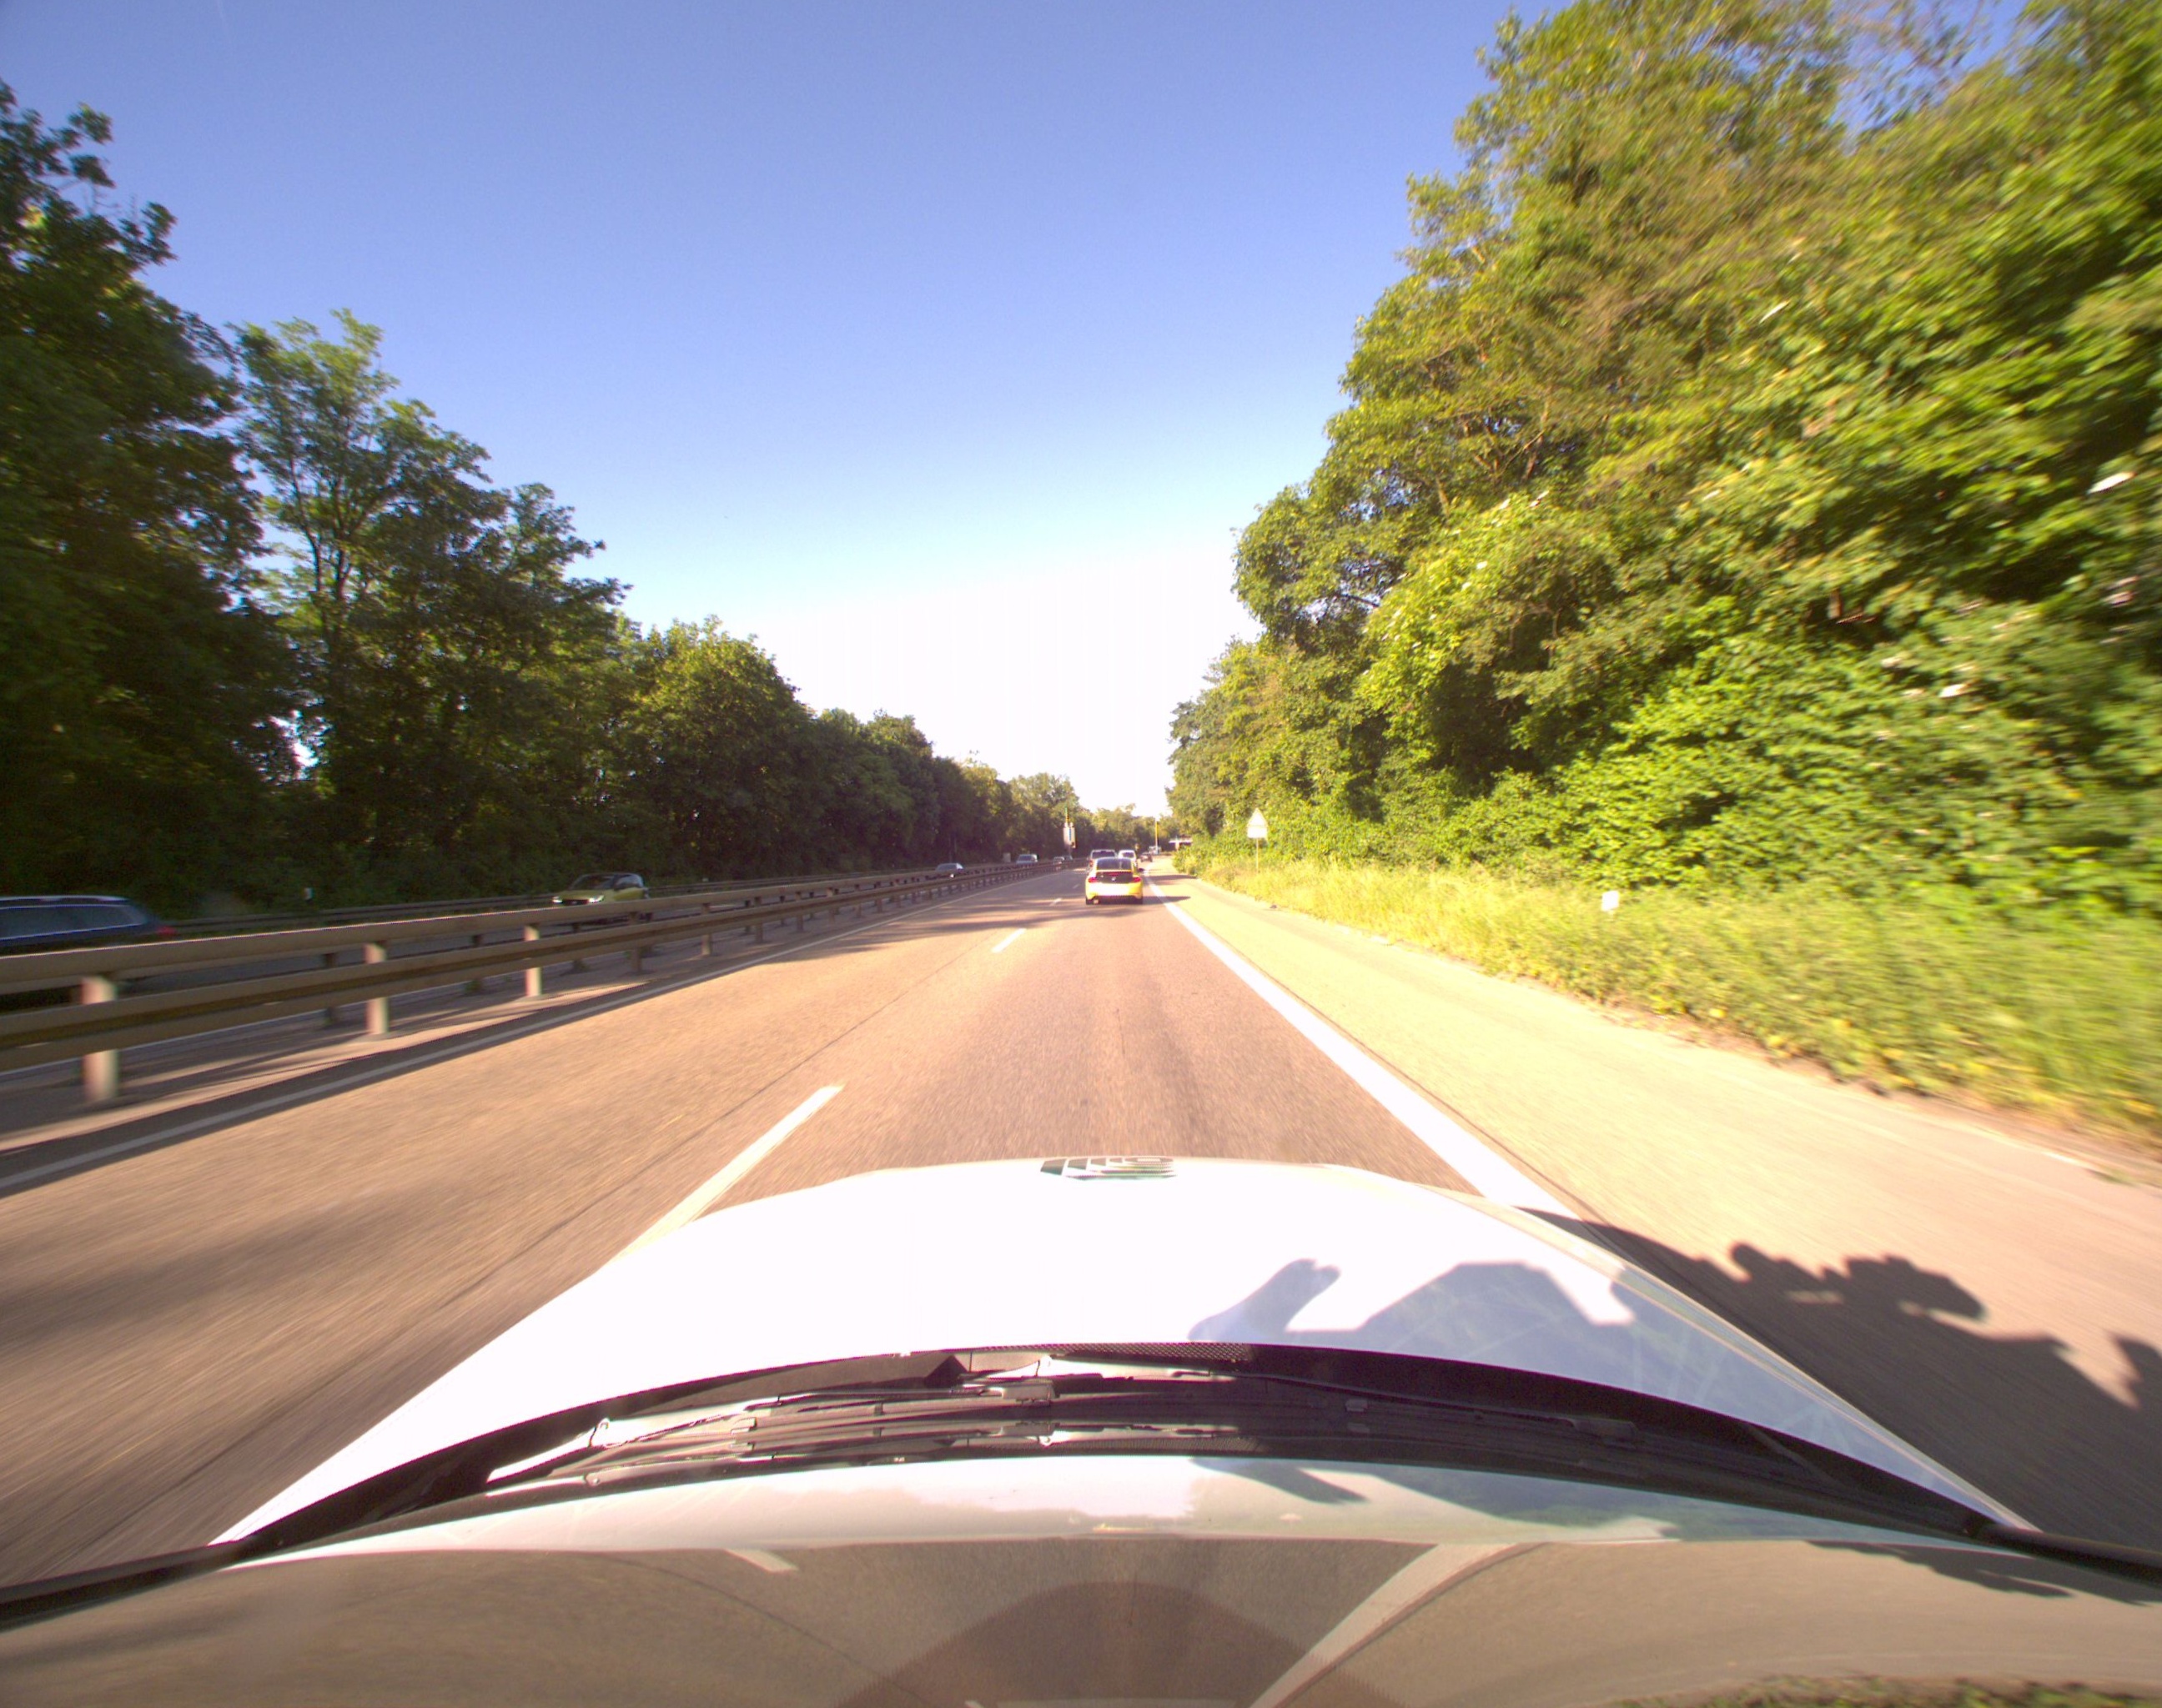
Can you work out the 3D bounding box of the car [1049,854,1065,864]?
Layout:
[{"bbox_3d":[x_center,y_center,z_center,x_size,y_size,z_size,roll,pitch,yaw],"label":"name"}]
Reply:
[{"bbox_3d":[-3.453,0.748,117.925,1.589,1.314,3.916,-4,0,6],"label":"car"}]

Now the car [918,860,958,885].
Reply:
[{"bbox_3d":[-9.381,1.175,53.696,1.591,1.453,4.349,-4,0,3],"label":"car"}]

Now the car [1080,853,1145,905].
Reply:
[{"bbox_3d":[1.017,0.752,26.175,1.931,1.508,3.424,-1,0,2],"label":"car"}]

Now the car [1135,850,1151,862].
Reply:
[{"bbox_3d":[10.050,0.259,131.714,2.251,1.875,5.086,-1,0,7],"label":"car"}]

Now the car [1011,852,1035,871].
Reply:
[{"bbox_3d":[-6.321,0.823,89.816,1.880,1.903,5.419,-4,0,3],"label":"car"}]

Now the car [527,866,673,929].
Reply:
[{"bbox_3d":[-14.678,1.265,25.172,1.986,1.585,4.001,-4,0,1],"label":"car"}]

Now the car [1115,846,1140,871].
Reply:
[{"bbox_3d":[4.114,0.403,72.327,1.986,2.013,4.002,-4,0,2],"label":"car"}]

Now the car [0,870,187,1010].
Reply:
[{"bbox_3d":[-14.827,1.185,10.235,1.986,1.750,4.551,-4,0,1],"label":"car"}]

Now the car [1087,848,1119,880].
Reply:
[{"bbox_3d":[1.321,0.552,48.175,1.734,1.830,3.426,-1,0,4],"label":"car"}]
